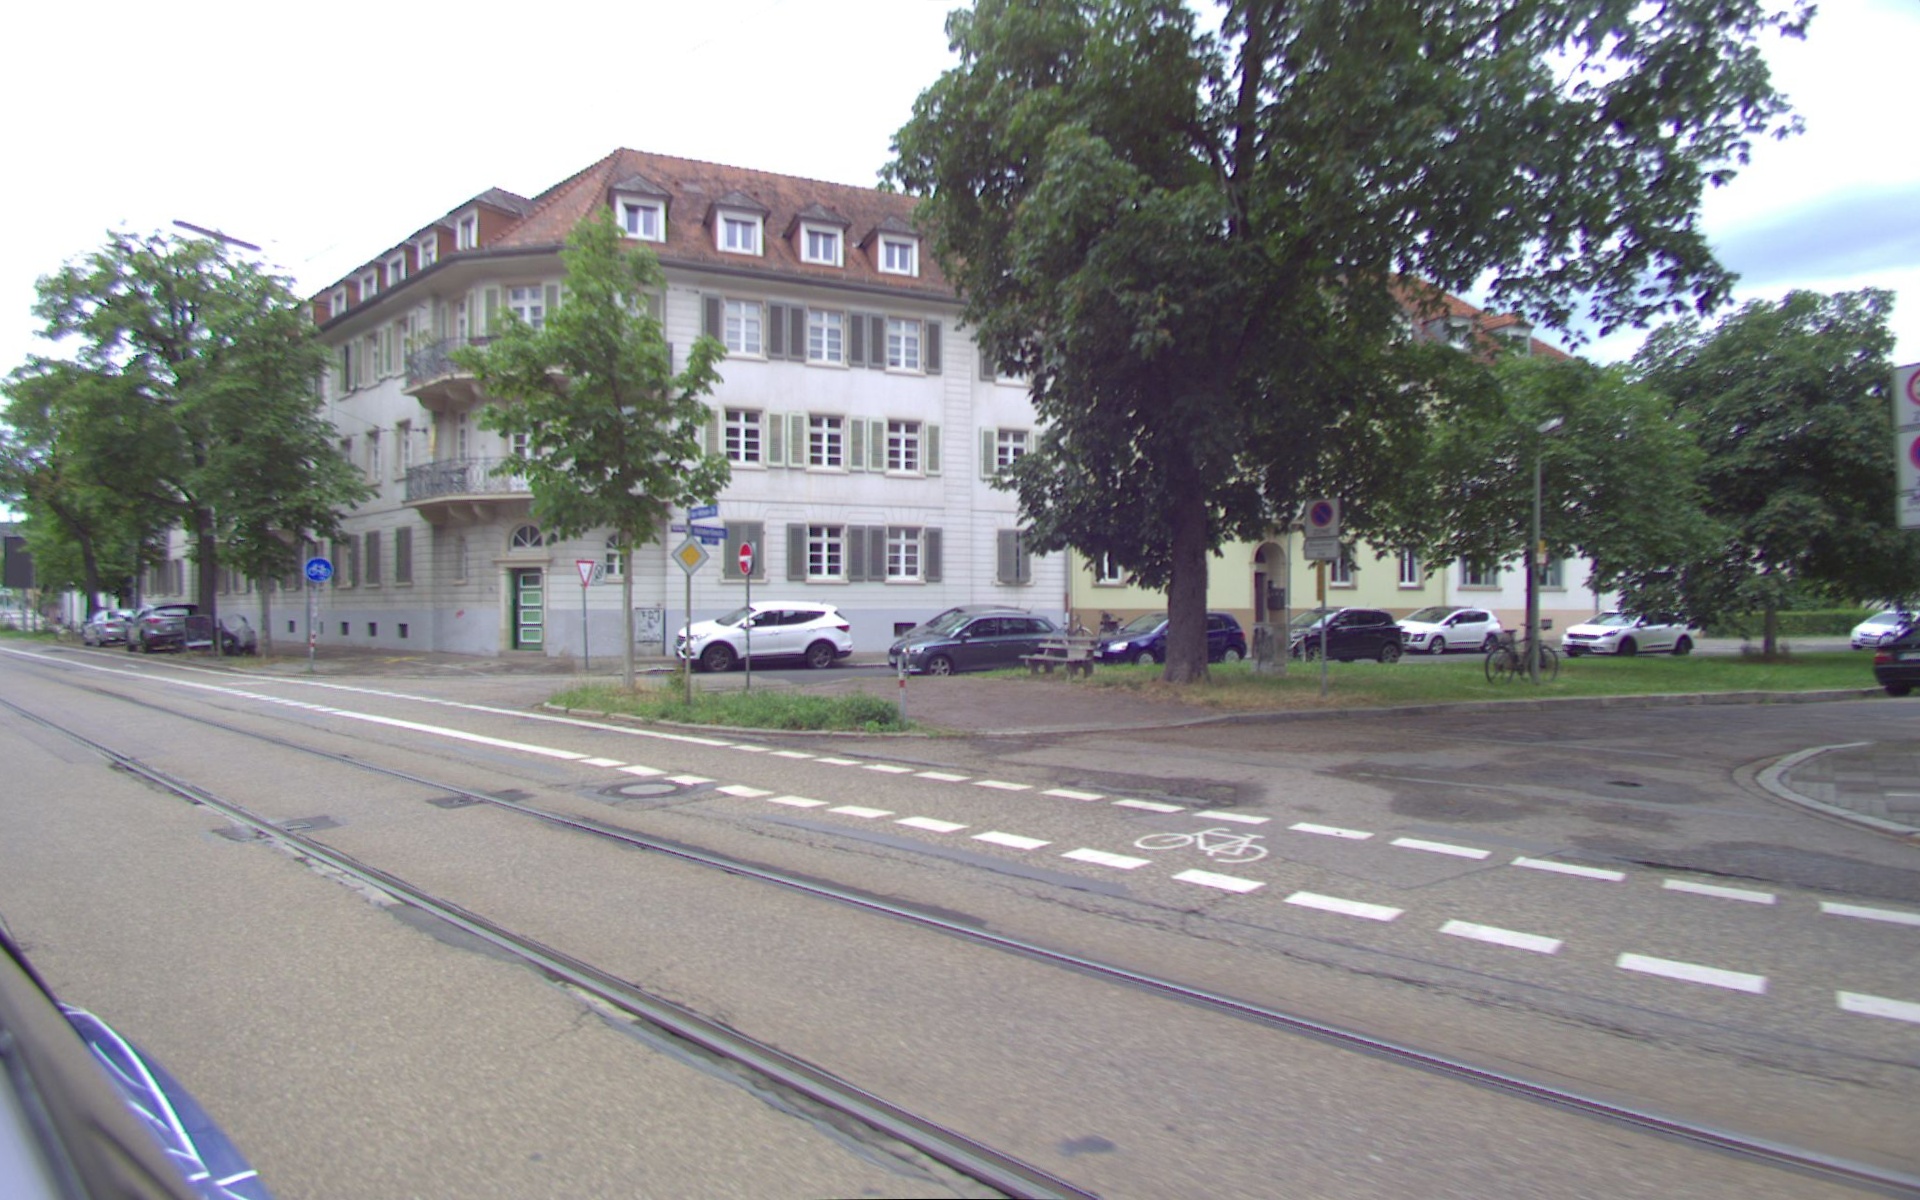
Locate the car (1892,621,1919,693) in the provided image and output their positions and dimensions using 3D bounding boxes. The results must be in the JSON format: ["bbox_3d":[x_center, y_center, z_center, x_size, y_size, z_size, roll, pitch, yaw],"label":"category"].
[{"bbox_3d":[19.153,1.056,18.859,2.916,1.309,1.360,0,0,-18],"label":"car"}]

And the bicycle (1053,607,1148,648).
[{"bbox_3d":[4.688,0.901,33.713,3.072,1.238,0.886,0,2,-23],"label":"bicycle"}]

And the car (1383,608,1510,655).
[{"bbox_3d":[17.138,1.084,35.654,4.080,1.563,1.778,0,0,-24],"label":"car"}]

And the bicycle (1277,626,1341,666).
[{"bbox_3d":[8.254,1.083,23.912,1.371,0.903,0.582,0,-1,-22],"label":"bicycle"}]

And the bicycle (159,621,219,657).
[{"bbox_3d":[-24.330,1.222,31.944,0.930,1.012,1.361,-1,2,45],"label":"bicycle"}]

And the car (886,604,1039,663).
[{"bbox_3d":[0.067,0.914,28.855,3.978,1.524,1.744,-1,0,-23],"label":"car"}]

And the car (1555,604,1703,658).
[{"bbox_3d":[20.675,0.934,31.286,4.116,1.564,1.808,0,-2,-23],"label":"car"}]

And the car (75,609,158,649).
[{"bbox_3d":[-33.594,1.132,40.269,4.610,1.477,1.793,-1,0,40],"label":"car"}]

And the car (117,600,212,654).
[{"bbox_3d":[-27.513,0.900,34.961,4.292,1.673,1.818,-1,1,42],"label":"car"}]

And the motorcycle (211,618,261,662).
[{"bbox_3d":[-21.697,1.173,30.303,2.137,1.267,0.535,-1,-1,35],"label":"motorcycle"}]

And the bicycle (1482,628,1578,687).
[{"bbox_3d":[10.016,1.000,17.775,1.645,0.931,0.450,0,6,-21],"label":"bicycle"}]

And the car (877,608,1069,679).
[{"bbox_3d":[0.285,0.939,22.915,4.000,1.421,1.667,-1,0,-20],"label":"car"}]

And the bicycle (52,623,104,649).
[{"bbox_3d":[-40.688,1.653,46.685,1.718,1.137,0.519,-2,0,-31],"label":"bicycle"}]

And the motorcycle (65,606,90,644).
[{"bbox_3d":[-39.516,1.124,45.314,0.822,1.655,2.483,0,-1,-41],"label":"motorcycle"}]

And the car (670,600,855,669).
[{"bbox_3d":[-5.171,0.860,26.509,4.438,1.675,1.945,0,-1,-24],"label":"car"}]

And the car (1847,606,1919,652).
[{"bbox_3d":[34.756,1.029,37.074,4.116,1.564,1.769,-1,0,-23],"label":"car"}]

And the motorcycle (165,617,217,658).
[{"bbox_3d":[-24.908,1.203,32.784,1.270,1.231,0.548,-1,0,-43],"label":"motorcycle"}]

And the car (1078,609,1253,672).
[{"bbox_3d":[5.056,0.948,24.874,3.940,1.356,1.671,-1,0,-23],"label":"car"}]

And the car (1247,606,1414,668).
[{"bbox_3d":[9.884,0.927,27.012,4.116,1.491,1.708,-1,0,-23],"label":"car"}]
